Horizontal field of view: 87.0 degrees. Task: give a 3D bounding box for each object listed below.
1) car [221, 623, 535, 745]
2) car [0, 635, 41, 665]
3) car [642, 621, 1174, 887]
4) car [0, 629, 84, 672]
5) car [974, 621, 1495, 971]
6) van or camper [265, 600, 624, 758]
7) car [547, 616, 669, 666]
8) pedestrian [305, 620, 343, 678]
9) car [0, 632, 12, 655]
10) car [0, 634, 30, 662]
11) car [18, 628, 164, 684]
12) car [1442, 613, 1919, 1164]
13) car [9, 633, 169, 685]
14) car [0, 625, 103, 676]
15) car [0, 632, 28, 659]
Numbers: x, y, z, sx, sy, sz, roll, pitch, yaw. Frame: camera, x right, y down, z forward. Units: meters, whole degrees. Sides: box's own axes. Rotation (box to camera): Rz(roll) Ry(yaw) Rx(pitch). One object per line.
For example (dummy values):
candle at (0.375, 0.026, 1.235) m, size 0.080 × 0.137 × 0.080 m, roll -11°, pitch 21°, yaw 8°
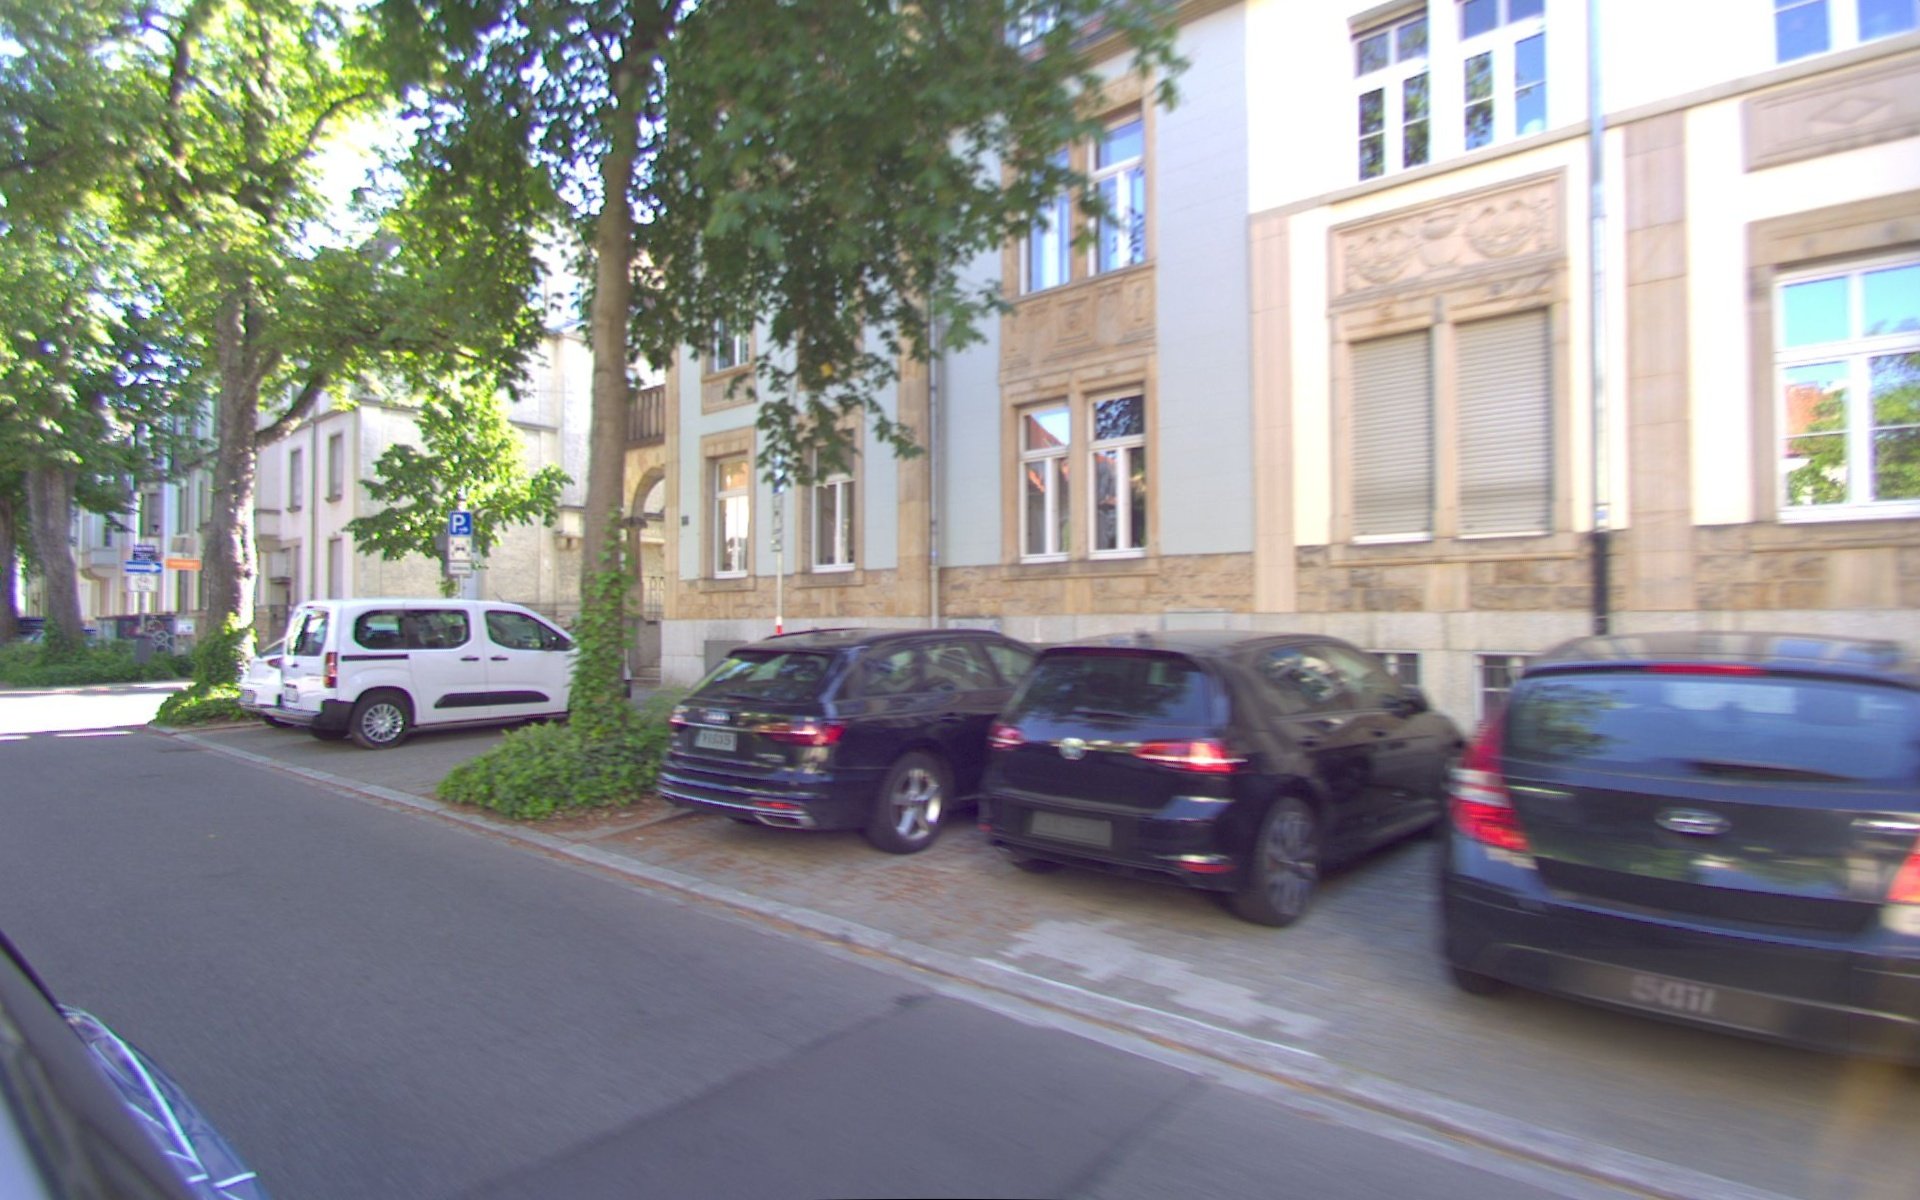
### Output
car at (-8.508, 1.133, 15.030) m, size 1.720 × 1.528 × 3.687 m, roll -2°, pitch -2°, yaw 39°
car at (-47.721, 2.471, 49.853) m, size 1.541 × 1.440 × 3.452 m, roll -2°, pitch -2°, yaw 40°
car at (-0.137, 0.901, 7.712) m, size 1.709 × 1.411 × 4.097 m, roll -2°, pitch -1°, yaw 40°
car at (-37.894, 2.021, 40.975) m, size 1.681 × 1.704 × 3.452 m, roll -2°, pitch -2°, yaw 40°
car at (1.903, 0.869, 6.206) m, size 1.645 × 1.442 × 3.708 m, roll -2°, pitch -2°, yaw 41°
van or camper at (-6.743, 0.947, 13.541) m, size 1.808 × 1.787 × 3.904 m, roll -3°, pitch -2°, yaw 40°
car at (-11.330, 1.270, 32.432) m, size 4.280 × 1.452 × 1.845 m, roll -1°, pitch -2°, yaw 42°
pedestrian at (-18.127, 1.382, 28.848) m, size 0.978 × 1.620 × 0.658 m, roll -2°, pitch -2°, yaw 41°
car at (-61.293, 2.704, 62.792) m, size 1.541 × 1.440 × 3.452 m, roll -2°, pitch -2°, yaw 40°
car at (-50.722, 2.472, 52.486) m, size 1.541 × 1.440 × 3.452 m, roll -2°, pitch -2°, yaw 40°
car at (-32.196, 2.026, 37.654) m, size 3.934 × 1.775 × 2.005 m, roll -1°, pitch 1°, yaw -36°
car at (3.568, 0.811, 4.351) m, size 1.714 × 1.476 × 3.686 m, roll -3°, pitch -2°, yaw 42°
car at (-28.838, 1.902, 33.606) m, size 3.939 × 1.443 × 1.806 m, roll -1°, pitch 1°, yaw -42°
car at (-36.211, 1.951, 39.882) m, size 1.820 × 1.907 × 3.452 m, roll -2°, pitch -2°, yaw 40°
car at (-52.190, 2.448, 54.003) m, size 1.541 × 1.440 × 3.452 m, roll -2°, pitch -2°, yaw 40°
